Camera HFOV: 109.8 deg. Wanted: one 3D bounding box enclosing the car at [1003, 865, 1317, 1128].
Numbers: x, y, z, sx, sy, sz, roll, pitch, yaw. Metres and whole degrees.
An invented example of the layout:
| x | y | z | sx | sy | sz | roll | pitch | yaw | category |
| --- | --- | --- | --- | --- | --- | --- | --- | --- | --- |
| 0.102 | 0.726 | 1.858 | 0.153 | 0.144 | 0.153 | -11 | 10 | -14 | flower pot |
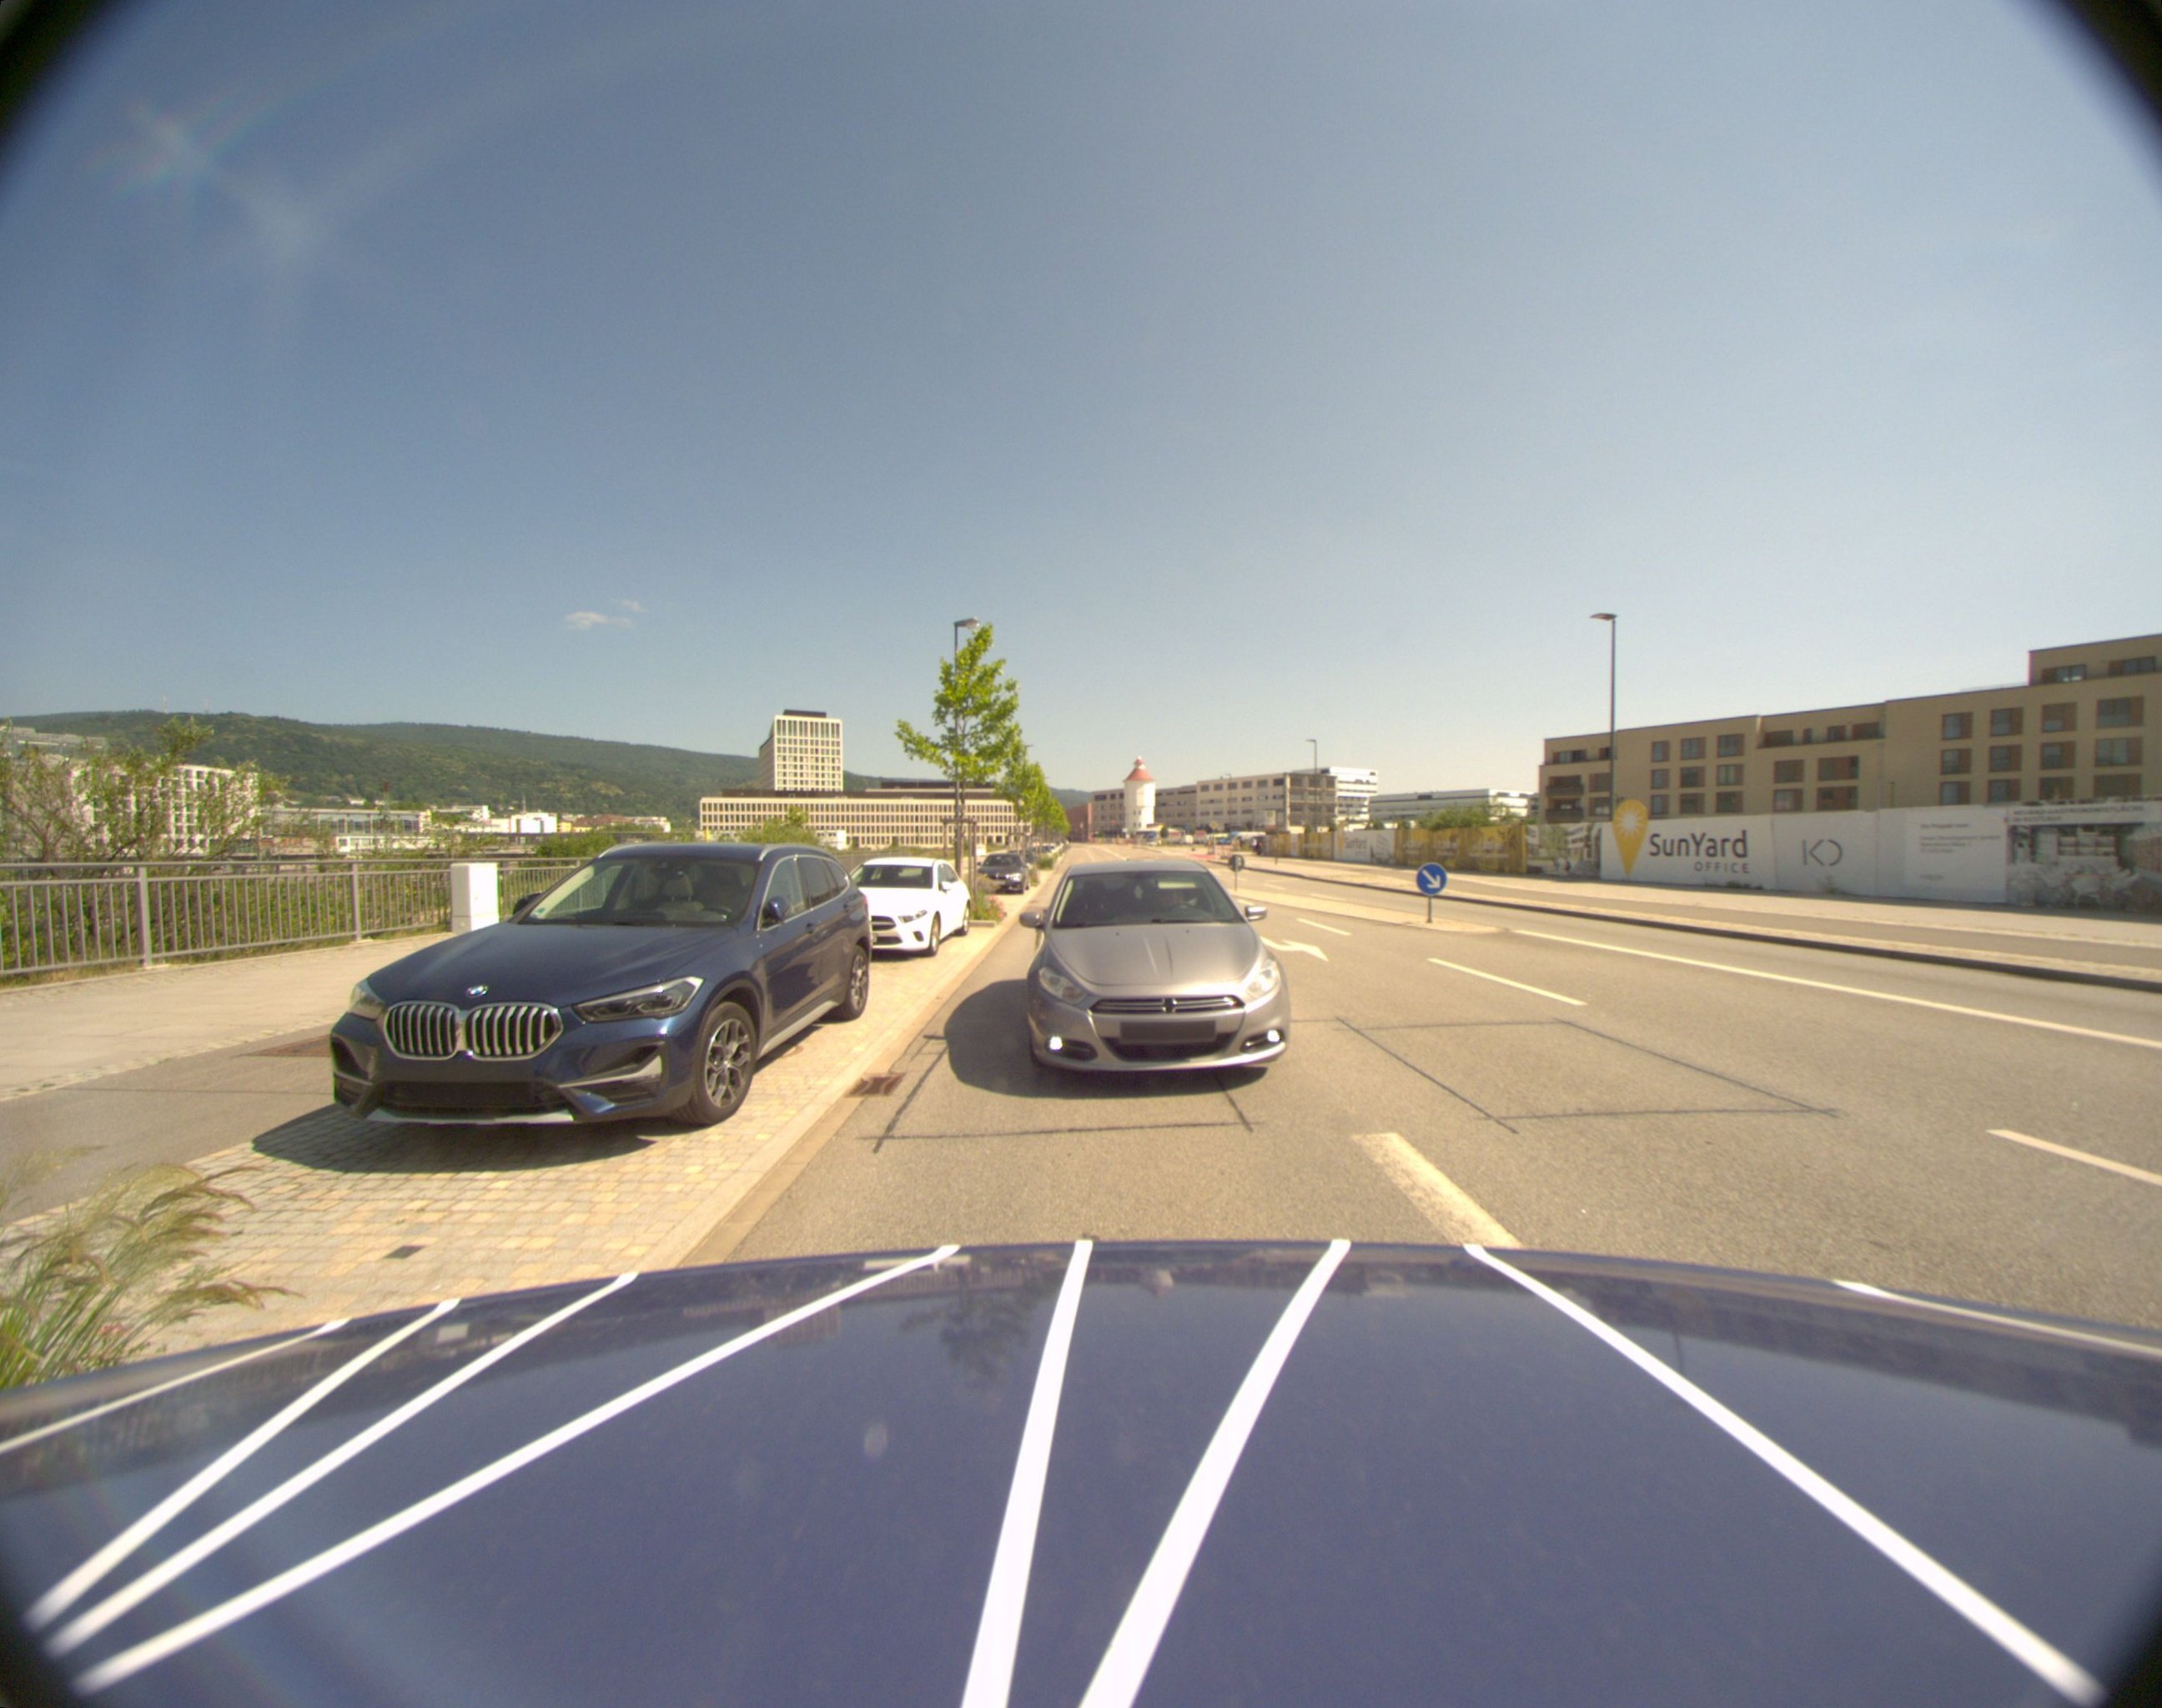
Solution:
| x | y | z | sx | sy | sz | roll | pitch | yaw | category |
| --- | --- | --- | --- | --- | --- | --- | --- | --- | --- |
| 0.492 | 0.868 | 6.508 | 1.784 | 1.372 | 4.135 | -2 | 1 | 1 | car |

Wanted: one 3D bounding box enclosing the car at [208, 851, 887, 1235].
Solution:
| x | y | z | sx | sy | sz | roll | pitch | yaw | category |
| --- | --- | --- | --- | --- | --- | --- | --- | --- | --- |
| -2.877 | 0.830 | 5.453 | 1.769 | 1.598 | 4.238 | -2 | 1 | 1 | car |

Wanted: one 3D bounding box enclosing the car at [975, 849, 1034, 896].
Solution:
| x | y | z | sx | sy | sz | roll | pitch | yaw | category |
| --- | --- | --- | --- | --- | --- | --- | --- | --- | --- |
| -2.724 | 0.632 | 27.972 | 1.664 | 1.529 | 3.999 | -2 | 1 | 1 | car |

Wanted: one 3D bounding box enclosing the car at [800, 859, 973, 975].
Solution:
| x | y | z | sx | sy | sz | roll | pitch | yaw | category |
| --- | --- | --- | --- | --- | --- | --- | --- | --- | --- |
| -2.915 | 0.869 | 12.293 | 1.664 | 1.447 | 3.999 | -2 | 1 | 1 | car |

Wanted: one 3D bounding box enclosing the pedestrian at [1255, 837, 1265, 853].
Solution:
| x | y | z | sx | sy | sz | roll | pitch | yaw | category |
| --- | --- | --- | --- | --- | --- | --- | --- | --- | --- |
| 18.335 | -0.952 | 77.667 | 0.705 | 1.577 | 0.617 | -3 | 1 | -36 | pedestrian |
